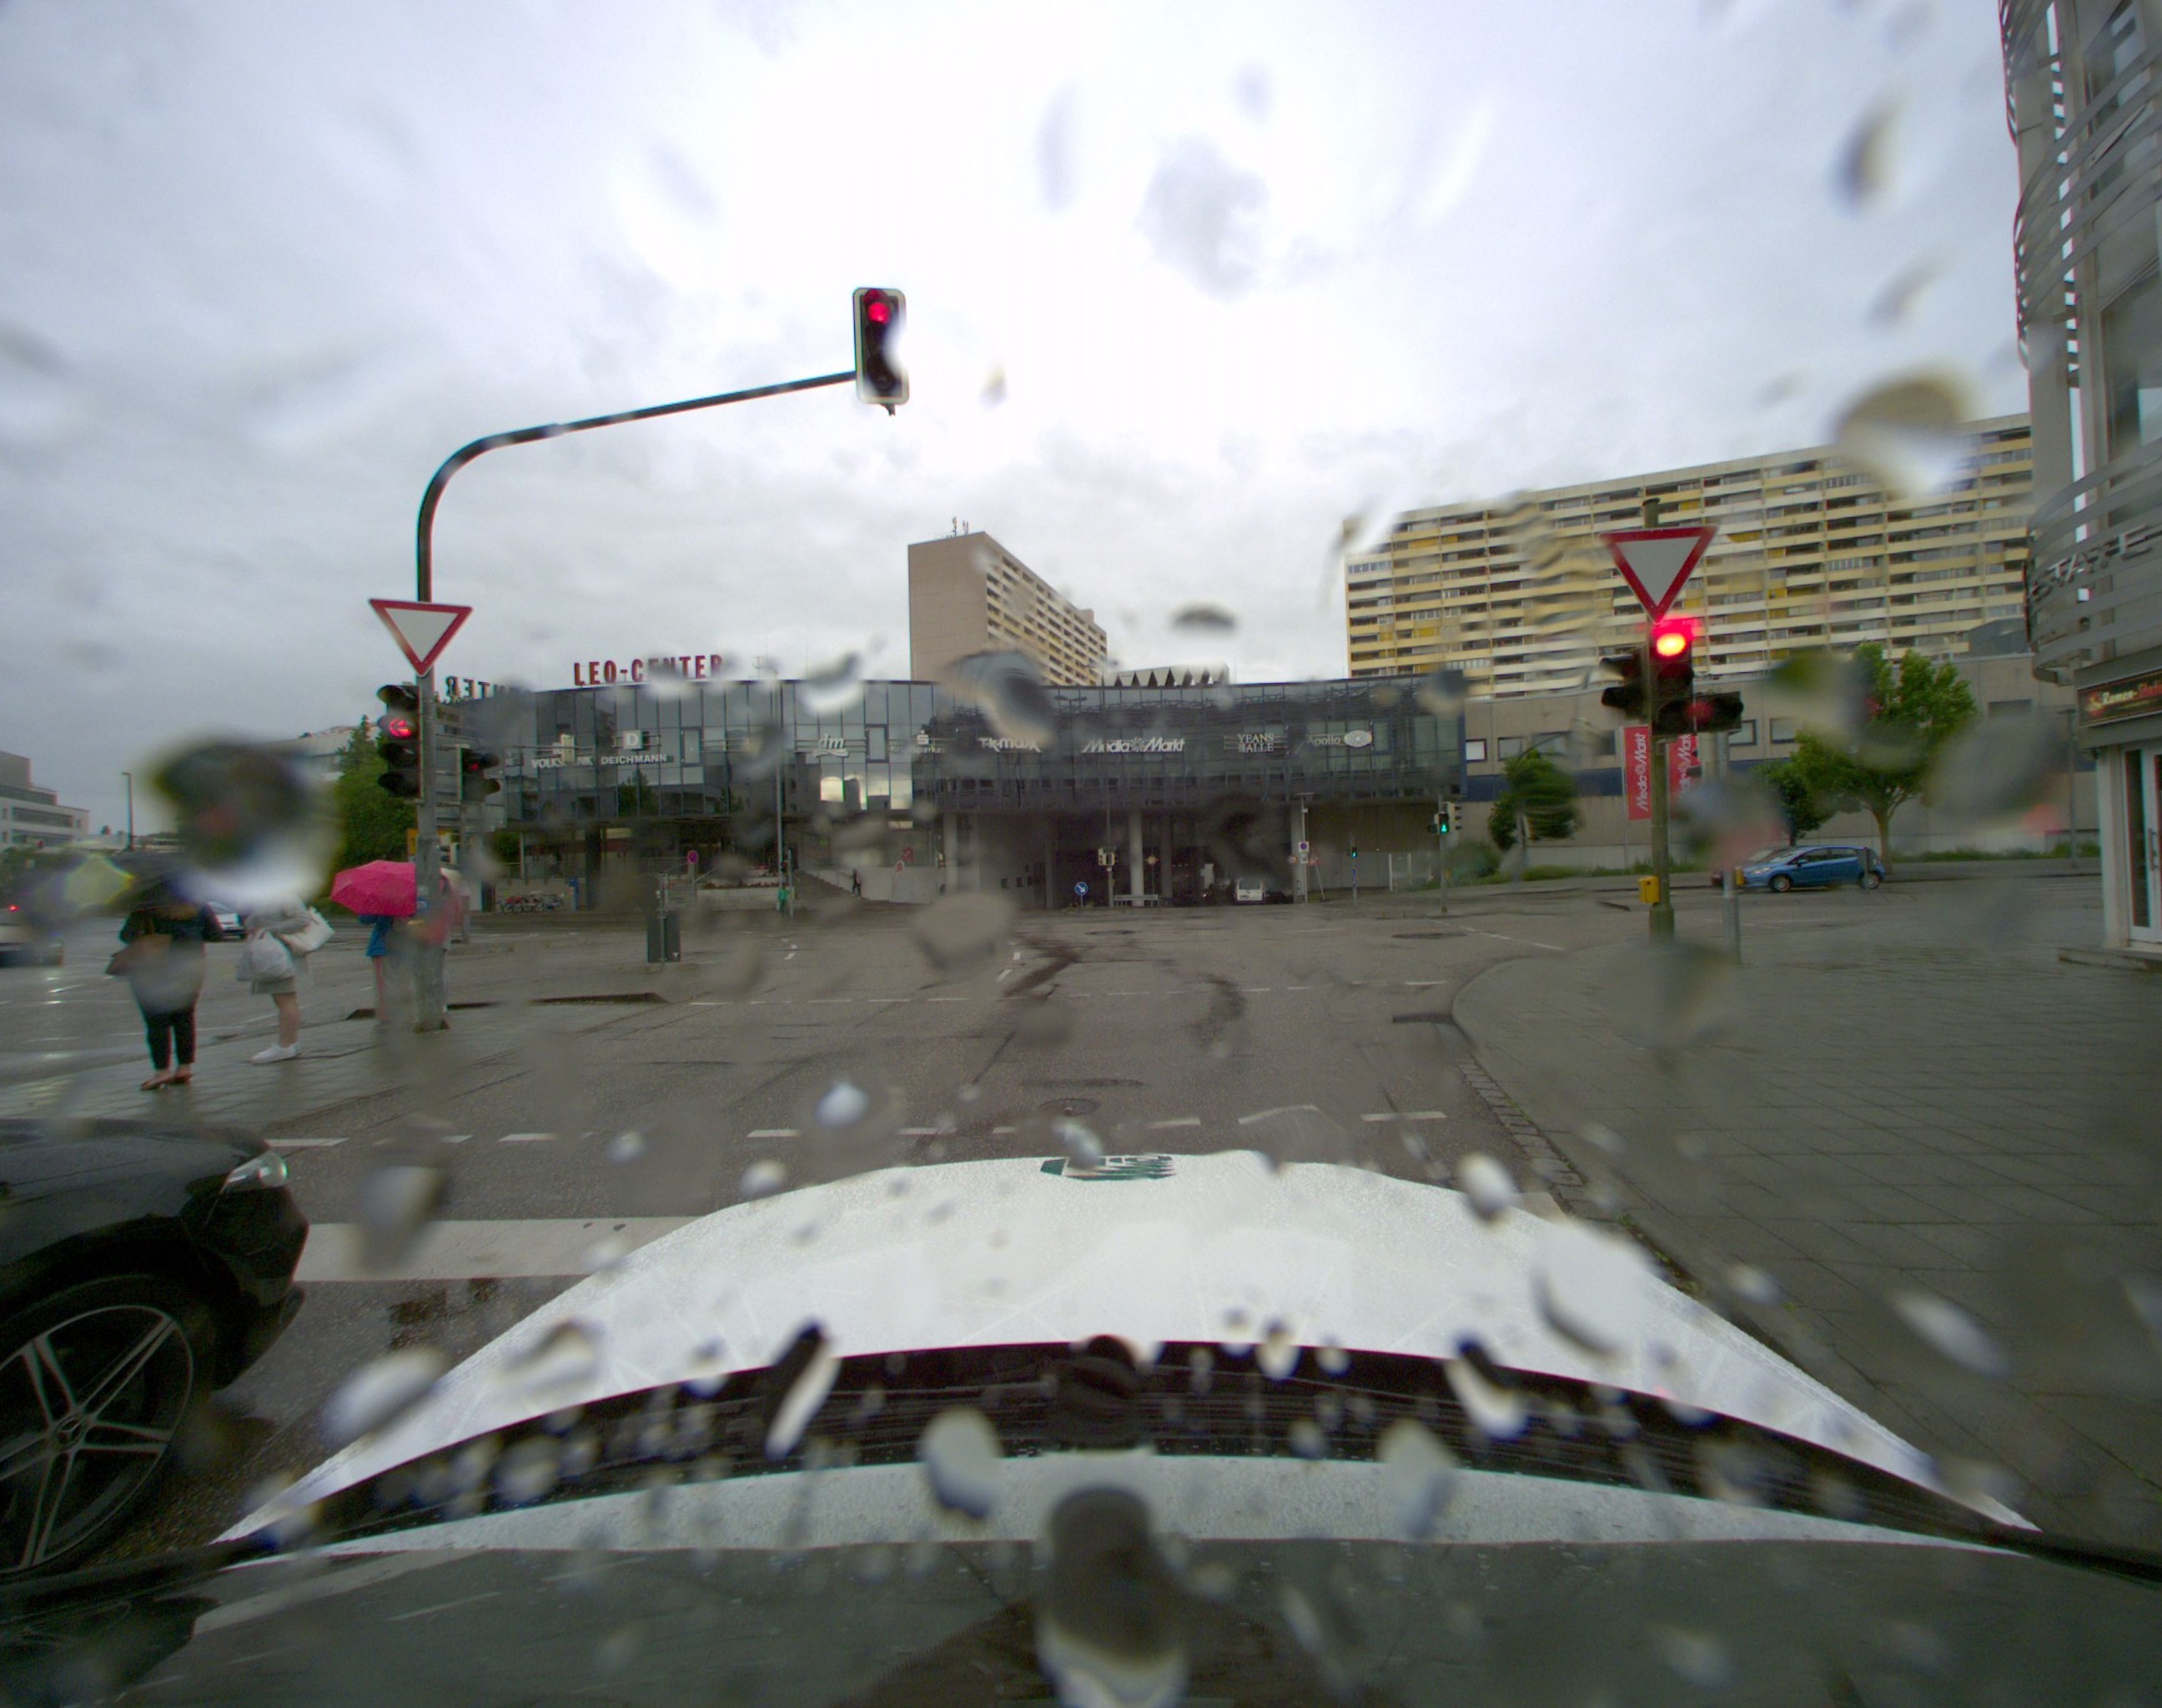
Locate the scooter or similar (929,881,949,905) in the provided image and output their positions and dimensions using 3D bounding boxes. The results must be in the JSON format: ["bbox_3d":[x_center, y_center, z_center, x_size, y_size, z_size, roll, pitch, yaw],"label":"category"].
[{"bbox_3d":[-8.469,2.334,48.529,1.167,1.373,0.487,0,-1,-13],"label":"scooter or similar"}]

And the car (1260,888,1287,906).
[{"bbox_3d":[15.521,3.493,65.619,1.765,1.400,4.017,-3,-4,17],"label":"car"}]

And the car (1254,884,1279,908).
[{"bbox_3d":[13.862,3.190,60.783,1.621,1.612,4.277,-3,-5,14],"label":"car"}]

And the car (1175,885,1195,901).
[{"bbox_3d":[12.264,4.525,95.900,1.823,1.728,4.014,-2,-1,13],"label":"car"}]

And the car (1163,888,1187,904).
[{"bbox_3d":[10.521,4.737,91.135,1.899,1.588,3.957,-3,-2,17],"label":"car"}]

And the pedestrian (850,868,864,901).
[{"bbox_3d":[-13.083,1.793,47.559,0.655,1.908,0.593,-1,-1,-6],"label":"pedestrian"}]

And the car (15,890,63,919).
[{"bbox_3d":[-75.128,3.637,58.716,4.085,1.896,2.062,-1,-1,38],"label":"car"}]

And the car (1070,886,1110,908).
[{"bbox_3d":[0.737,3.334,62.623,1.877,1.470,4.044,-2,-5,18],"label":"car"}]

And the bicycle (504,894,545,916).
[{"bbox_3d":[-31.676,2.875,46.371,0.640,1.042,1.865,-3,1,20],"label":"bicycle"}]

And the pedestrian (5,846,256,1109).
[{"bbox_3d":[-6.967,0.836,6.044,0.956,1.736,0.829,-2,-2,-28],"label":"pedestrian"}]

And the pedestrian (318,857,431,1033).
[{"bbox_3d":[-7.292,0.896,8.407,0.665,1.685,0.811,-4,-2,45],"label":"pedestrian"}]

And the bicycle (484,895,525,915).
[{"bbox_3d":[-33.071,2.919,46.754,0.529,0.951,1.865,-1,2,23],"label":"bicycle"}]

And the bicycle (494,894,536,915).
[{"bbox_3d":[-32.386,2.888,46.616,0.621,1.033,1.865,-3,1,20],"label":"bicycle"}]

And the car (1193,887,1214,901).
[{"bbox_3d":[15.259,4.976,101.611,1.978,1.664,4.018,-1,-1,17],"label":"car"}]

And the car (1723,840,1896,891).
[{"bbox_3d":[23.472,0.381,26.370,3.819,1.397,1.684,-3,-2,10],"label":"car"}]

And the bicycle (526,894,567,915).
[{"bbox_3d":[-30.088,2.819,45.894,0.625,1.023,1.864,-3,1,20],"label":"bicycle"}]

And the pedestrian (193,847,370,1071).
[{"bbox_3d":[-6.885,0.835,7.018,1.123,1.744,0.865,-3,-1,34],"label":"pedestrian"}]

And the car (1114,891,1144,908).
[{"bbox_3d":[4.432,4.131,74.421,1.756,1.464,3.892,-3,-4,17],"label":"car"}]

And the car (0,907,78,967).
[{"bbox_3d":[-28.194,2.134,21.054,5.079,1.414,2.136,-3,-2,31],"label":"car"}]

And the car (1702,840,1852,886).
[{"bbox_3d":[24.857,0.333,29.228,3.660,1.395,1.750,-3,-2,11],"label":"car"}]

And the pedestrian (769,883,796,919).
[{"bbox_3d":[-14.268,2.247,38.956,0.945,1.623,0.809,-2,-1,2],"label":"pedestrian"}]

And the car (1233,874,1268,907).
[{"bbox_3d":[10.130,2.159,48.500,1.912,1.798,4.310,-2,-3,13],"label":"car"}]

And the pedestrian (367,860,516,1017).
[{"bbox_3d":[-7.253,0.921,9.291,0.932,1.677,0.917,-2,-1,1],"label":"pedestrian"}]

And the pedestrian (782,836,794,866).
[{"bbox_3d":[-17.663,-0.151,49.168,0.633,1.807,0.501,0,-1,-16],"label":"pedestrian"}]

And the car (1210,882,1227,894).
[{"bbox_3d":[19.316,4.778,114.248,1.979,1.464,4.016,-3,-2,15],"label":"car"}]

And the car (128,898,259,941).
[{"bbox_3d":[-33.521,2.461,30.780,3.949,1.441,1.754,-2,-1,16],"label":"car"}]

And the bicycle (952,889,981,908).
[{"bbox_3d":[-6.880,2.675,48.989,1.591,1.018,0.448,5,-3,-29],"label":"bicycle"}]

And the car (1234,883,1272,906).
[{"bbox_3d":[11.868,2.831,56.061,1.742,1.464,3.963,-3,-5,23],"label":"car"}]

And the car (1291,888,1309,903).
[{"bbox_3d":[24.282,4.570,90.414,1.874,1.491,3.856,-1,-1,16],"label":"car"}]

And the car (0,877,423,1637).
[{"bbox_3d":[-2.996,0.833,0.606,1.657,1.481,4.094,0,0,0],"label":"car"}]

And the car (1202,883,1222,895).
[{"bbox_3d":[17.601,4.717,109.204,1.978,1.464,4.018,-3,-2,17],"label":"car"}]

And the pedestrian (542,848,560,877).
[{"bbox_3d":[-31.420,0.507,48.258,0.592,1.714,0.658,-1,-1,25],"label":"pedestrian"}]
